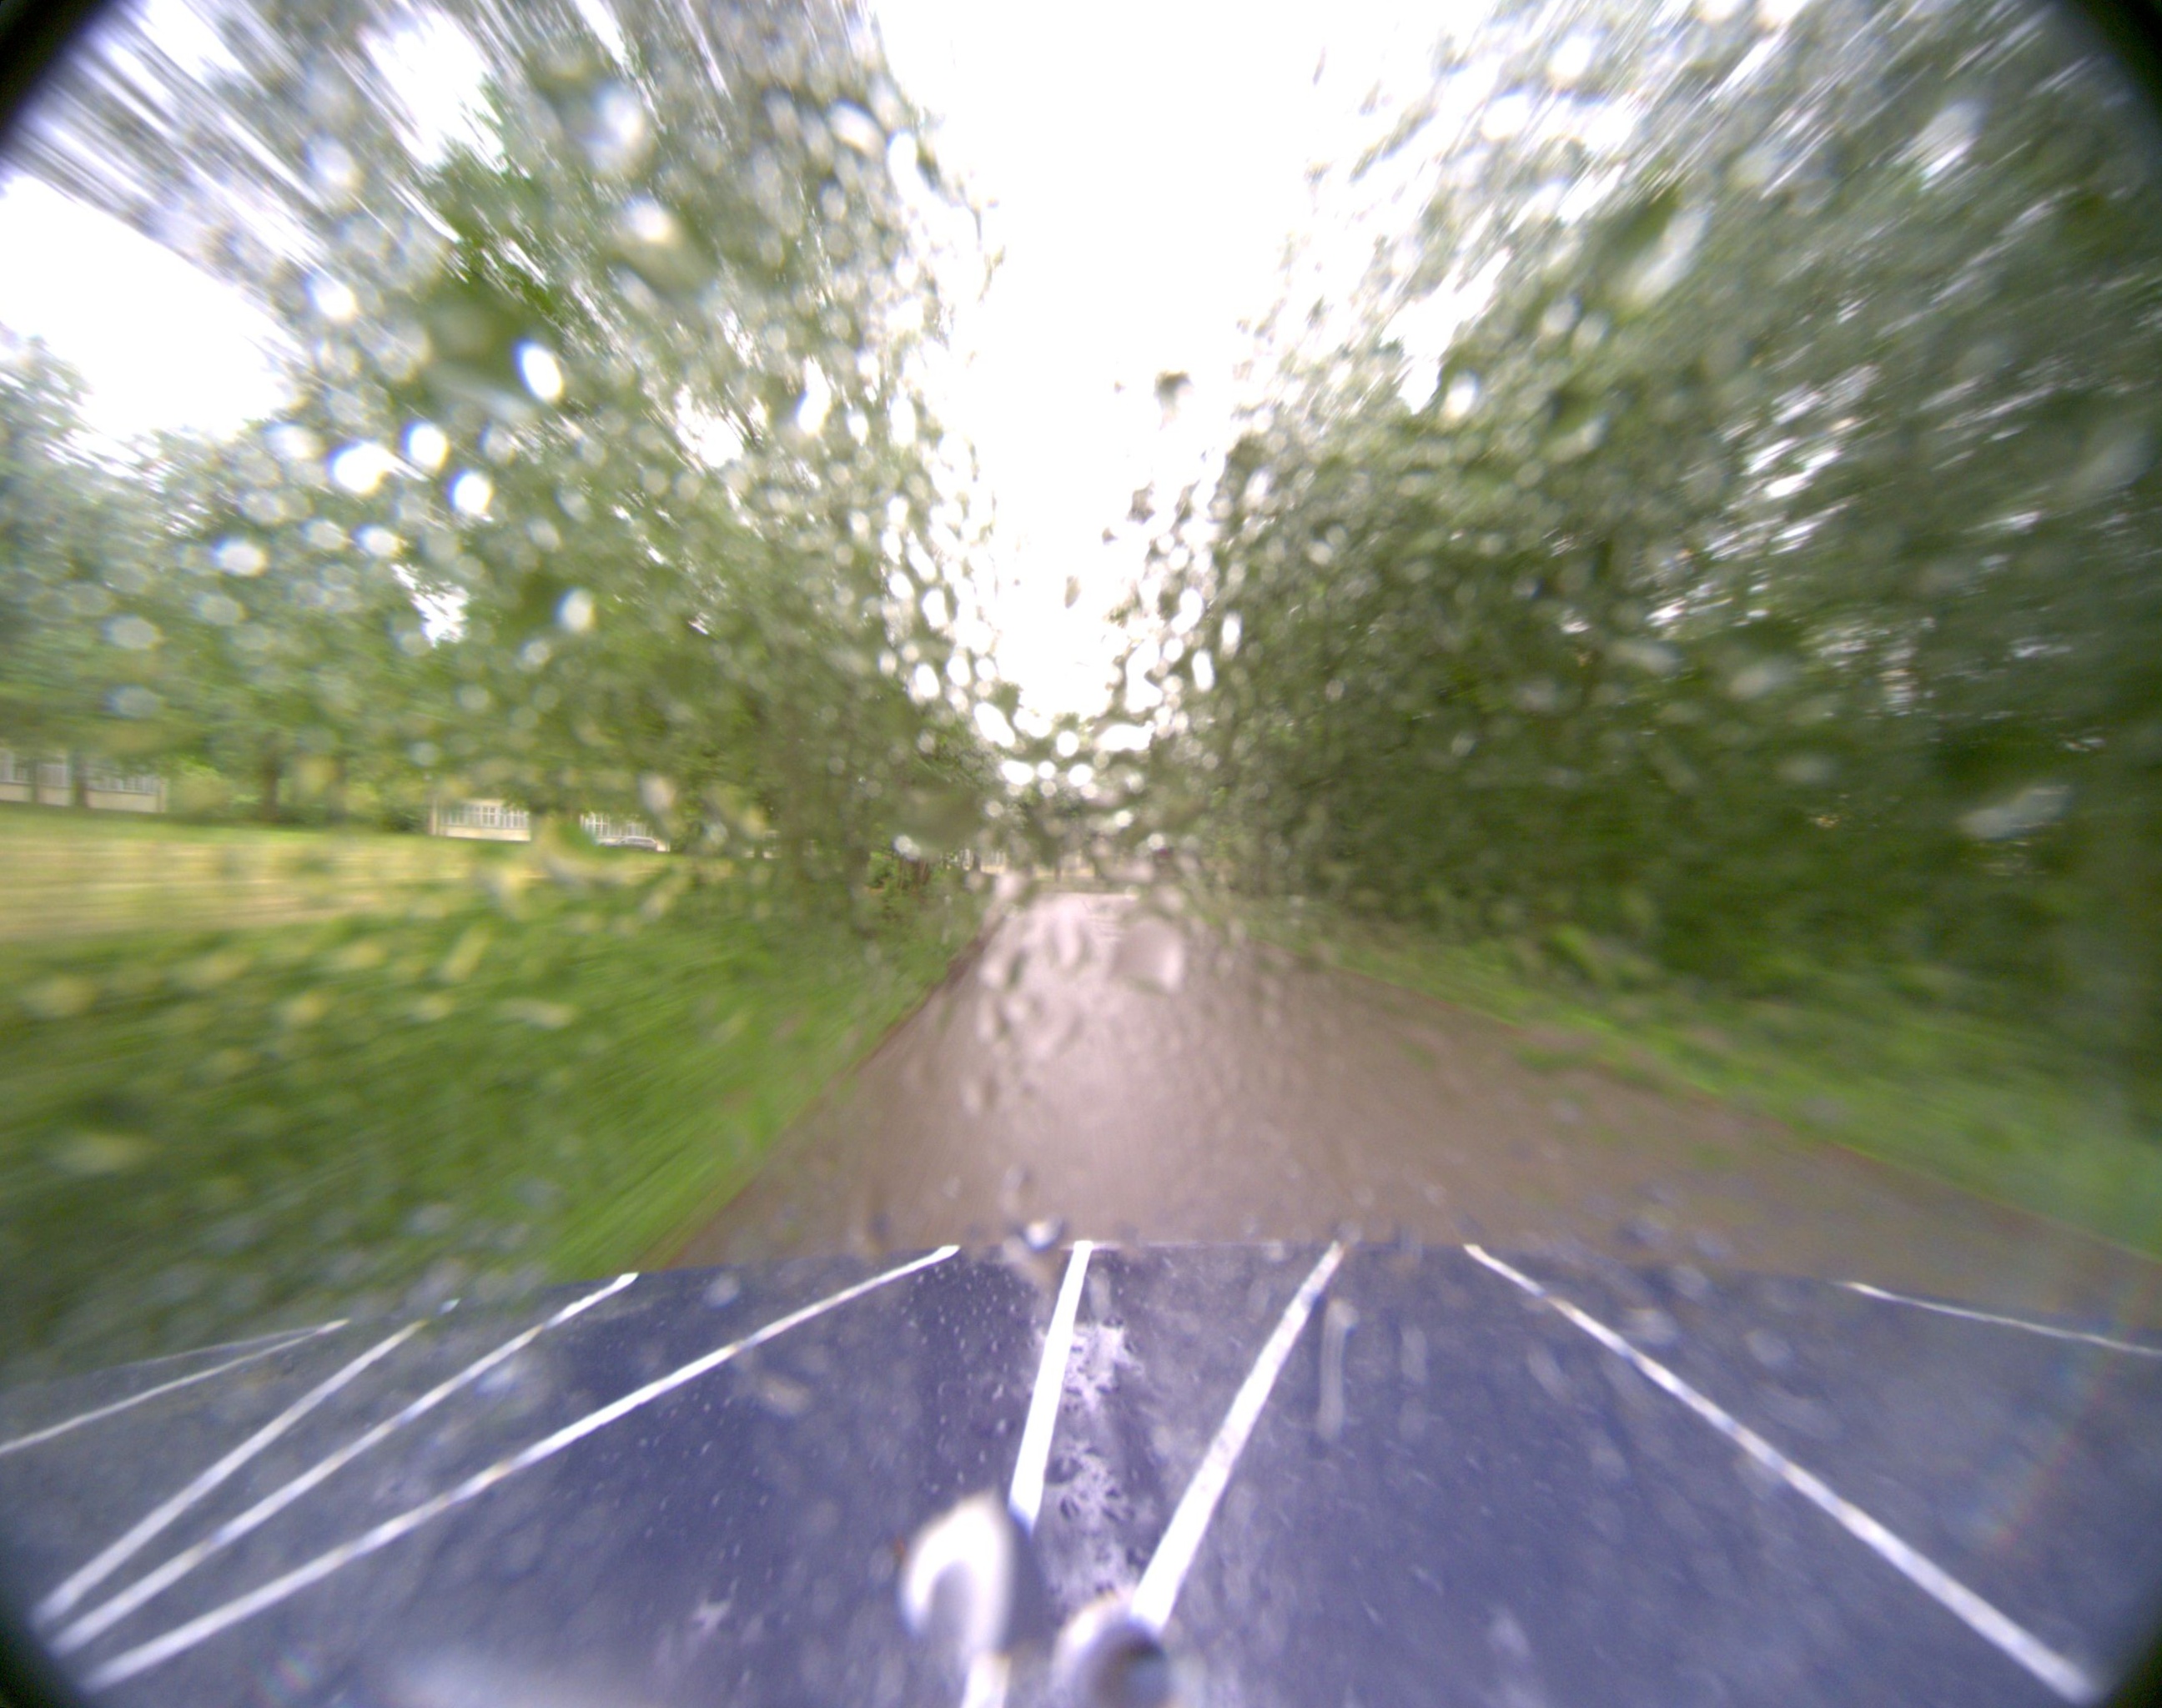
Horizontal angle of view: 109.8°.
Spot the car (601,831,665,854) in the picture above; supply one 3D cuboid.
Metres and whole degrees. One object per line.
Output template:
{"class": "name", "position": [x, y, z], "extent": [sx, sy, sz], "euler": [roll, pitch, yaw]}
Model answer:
{"class": "car", "position": [-40.785, -0.976, 69.229], "extent": [1.994, 1.824, 4.577], "euler": [0, -2, 42]}
